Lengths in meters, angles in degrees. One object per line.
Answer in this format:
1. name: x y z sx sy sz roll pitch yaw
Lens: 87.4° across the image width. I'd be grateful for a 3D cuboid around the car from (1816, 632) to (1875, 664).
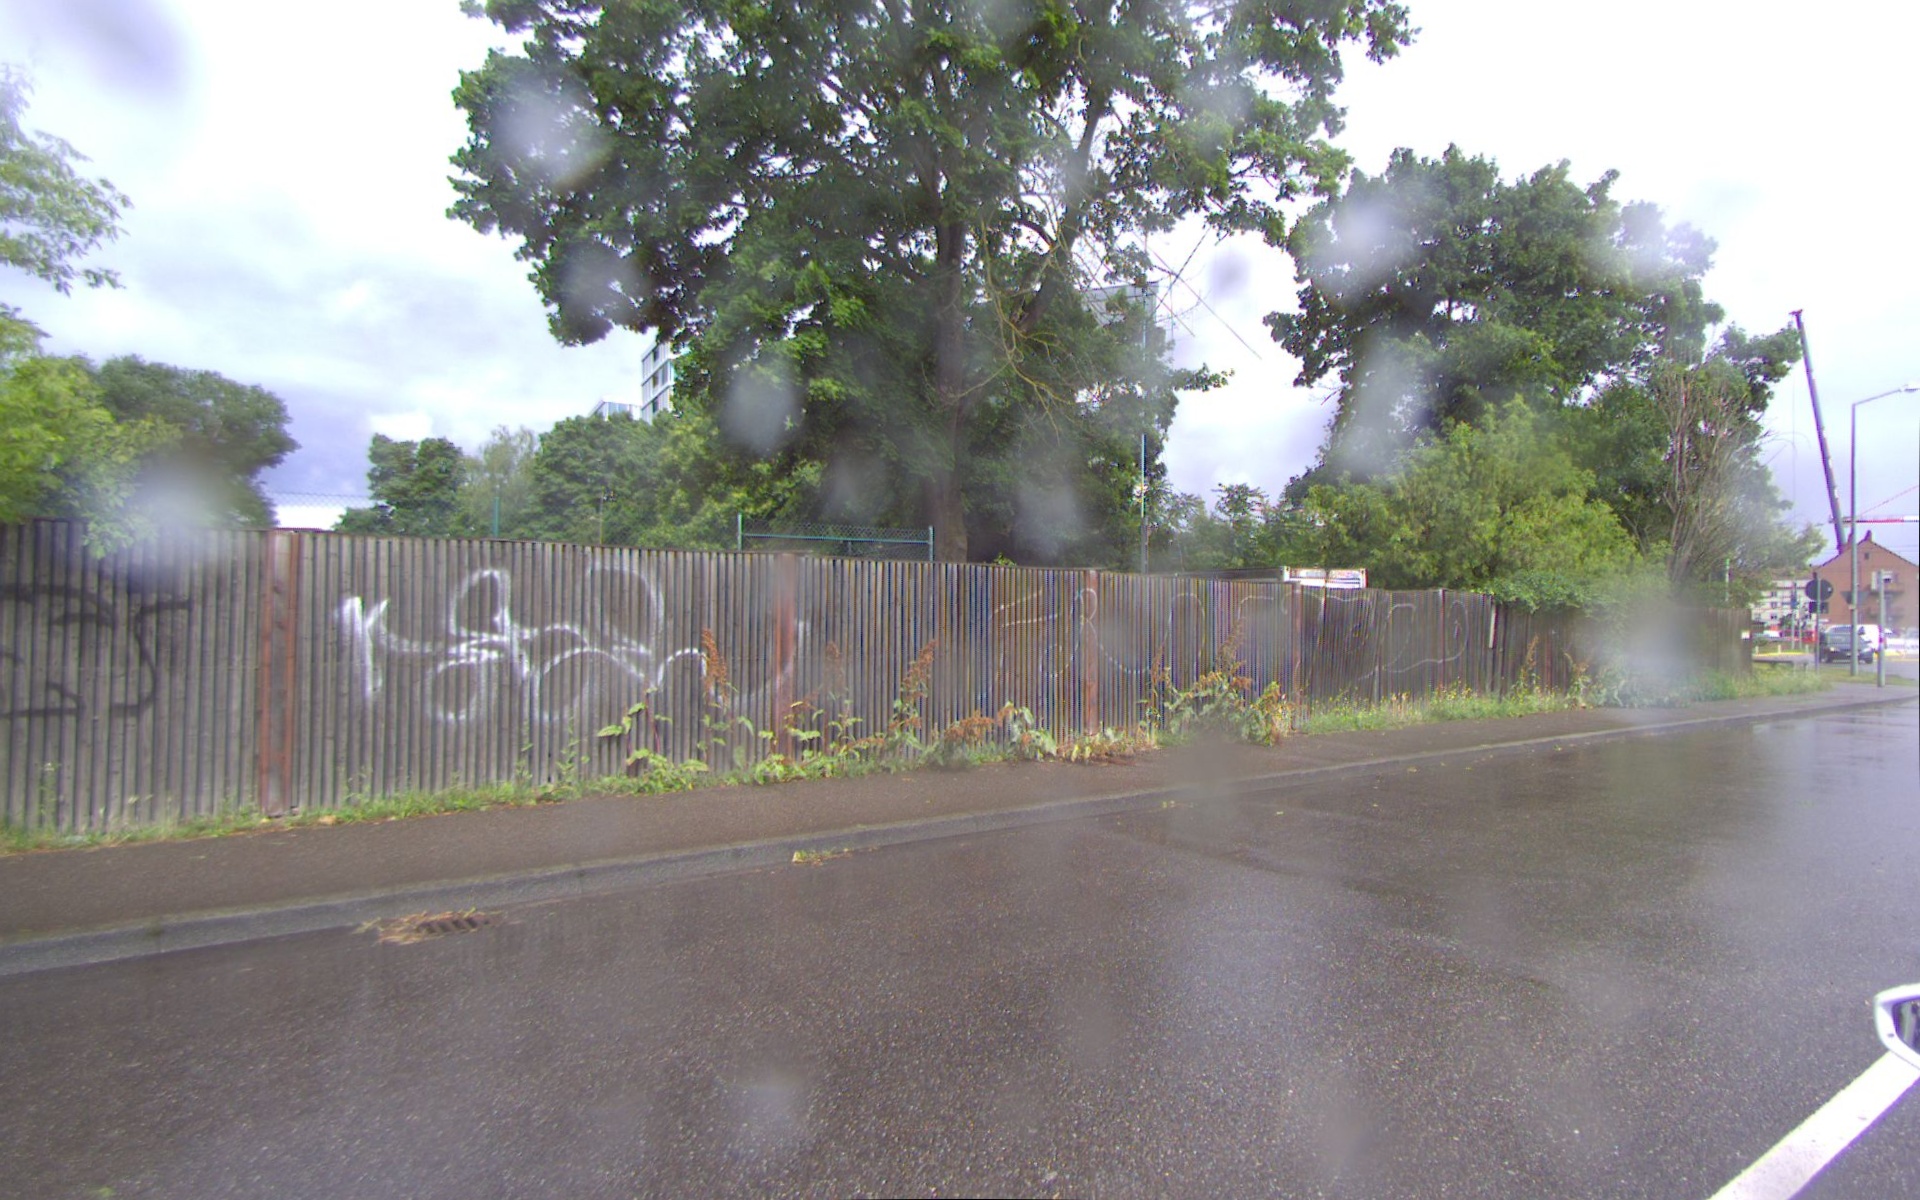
1. car: 44.302 2.405 50.324 1.850 1.502 4.163 0 -2 36
